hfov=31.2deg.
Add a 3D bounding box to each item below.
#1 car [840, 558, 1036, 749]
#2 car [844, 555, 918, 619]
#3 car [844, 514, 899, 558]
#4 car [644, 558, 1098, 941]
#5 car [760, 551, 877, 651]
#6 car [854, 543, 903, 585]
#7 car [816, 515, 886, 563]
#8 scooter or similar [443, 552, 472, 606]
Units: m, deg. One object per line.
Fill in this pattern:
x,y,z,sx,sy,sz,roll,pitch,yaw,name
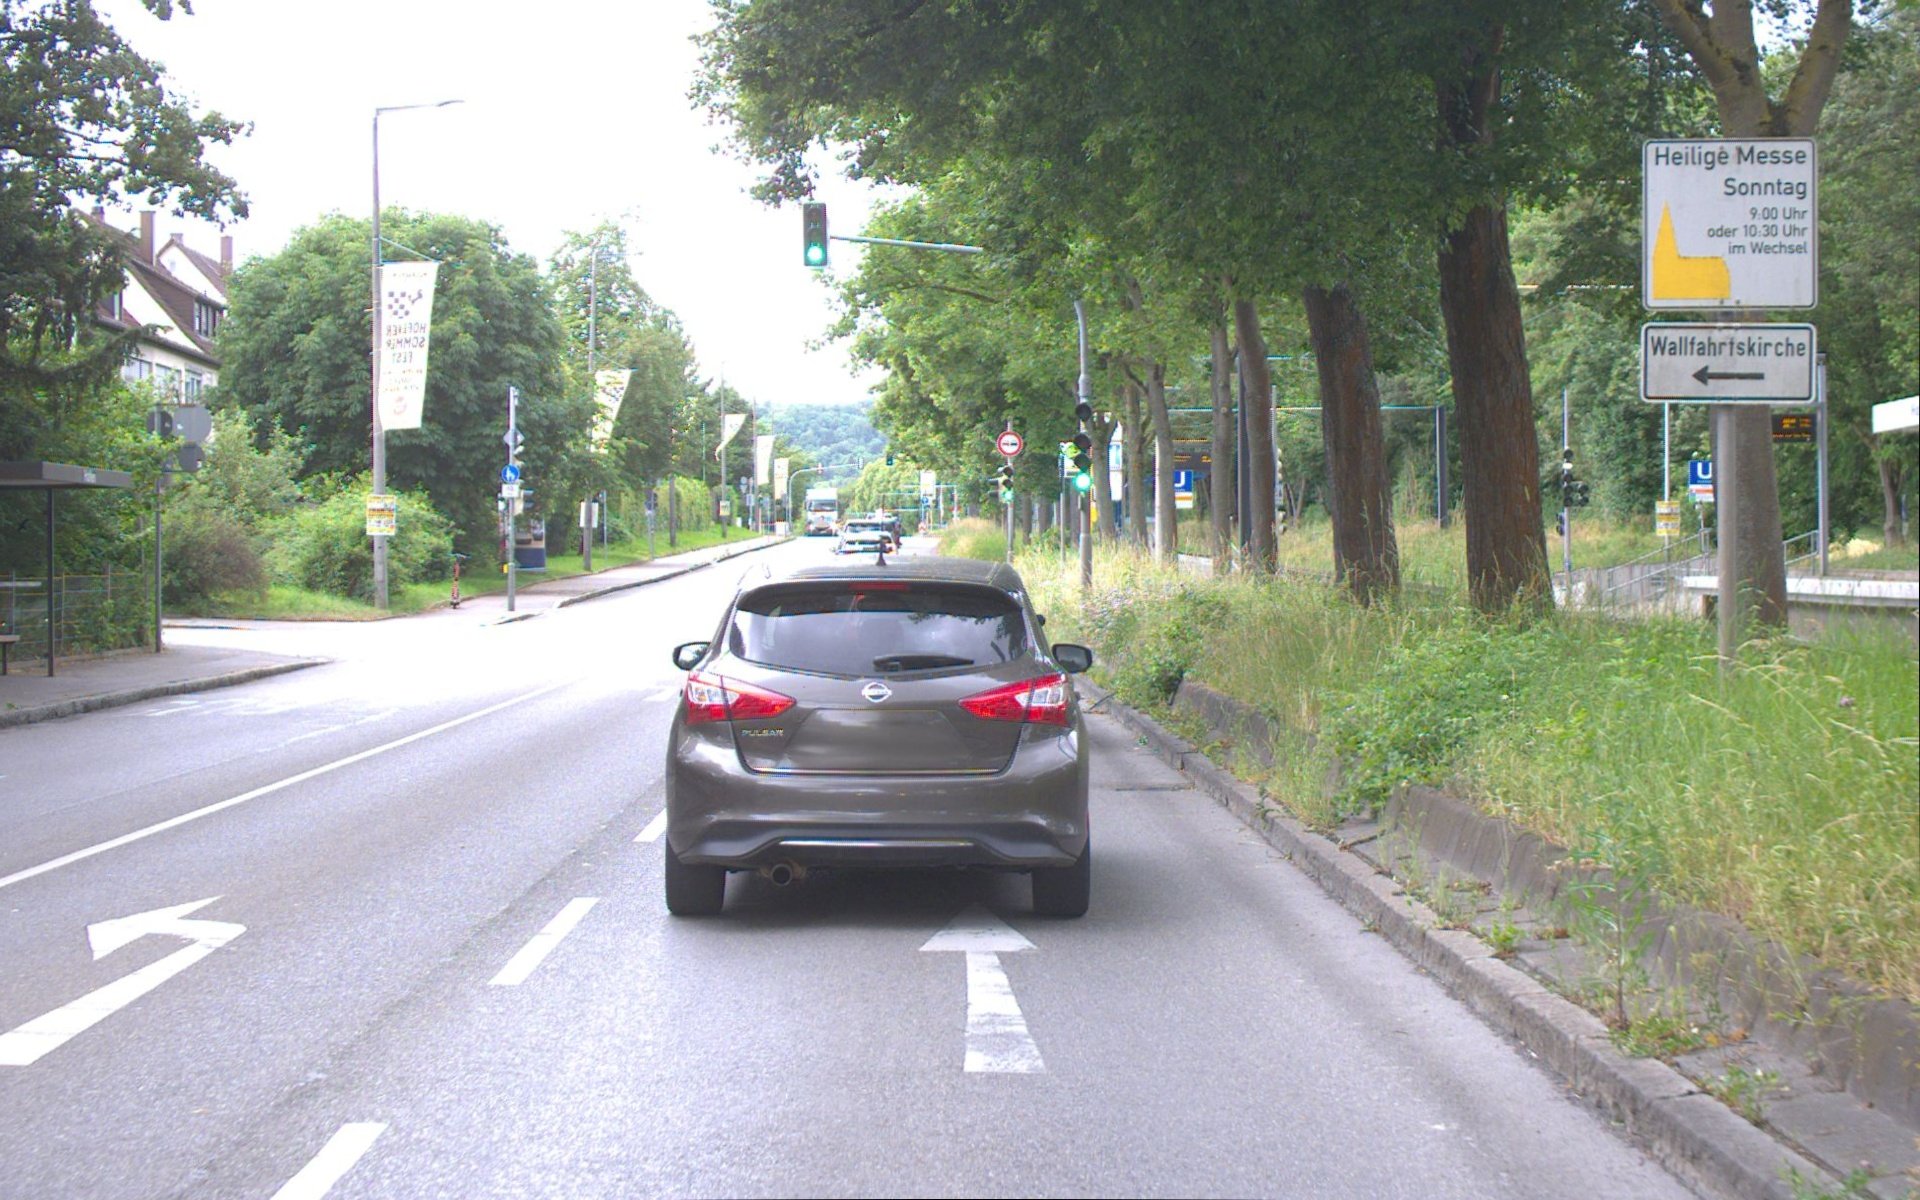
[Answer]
-0.205,0.393,28.246,1.502,1.436,3.542,0,1,-1,car
-1.835,-0.324,80.504,1.691,1.436,3.542,0,1,-1,car
-3.330,-2.412,130.190,1.993,1.568,4.000,2,0,-1,car
-0.367,0.566,15.381,1.783,1.501,3.696,0,1,-1,car
-2.119,-0.006,52.285,1.691,1.436,3.542,0,1,-1,car
-2.856,-1.294,121.285,1.691,1.436,3.542,0,1,-1,car
-3.219,-1.794,102.197,1.993,1.316,4.000,2,0,-1,car
-11.703,-0.497,80.129,0.462,1.254,1.426,0,1,0,scooter or similar
